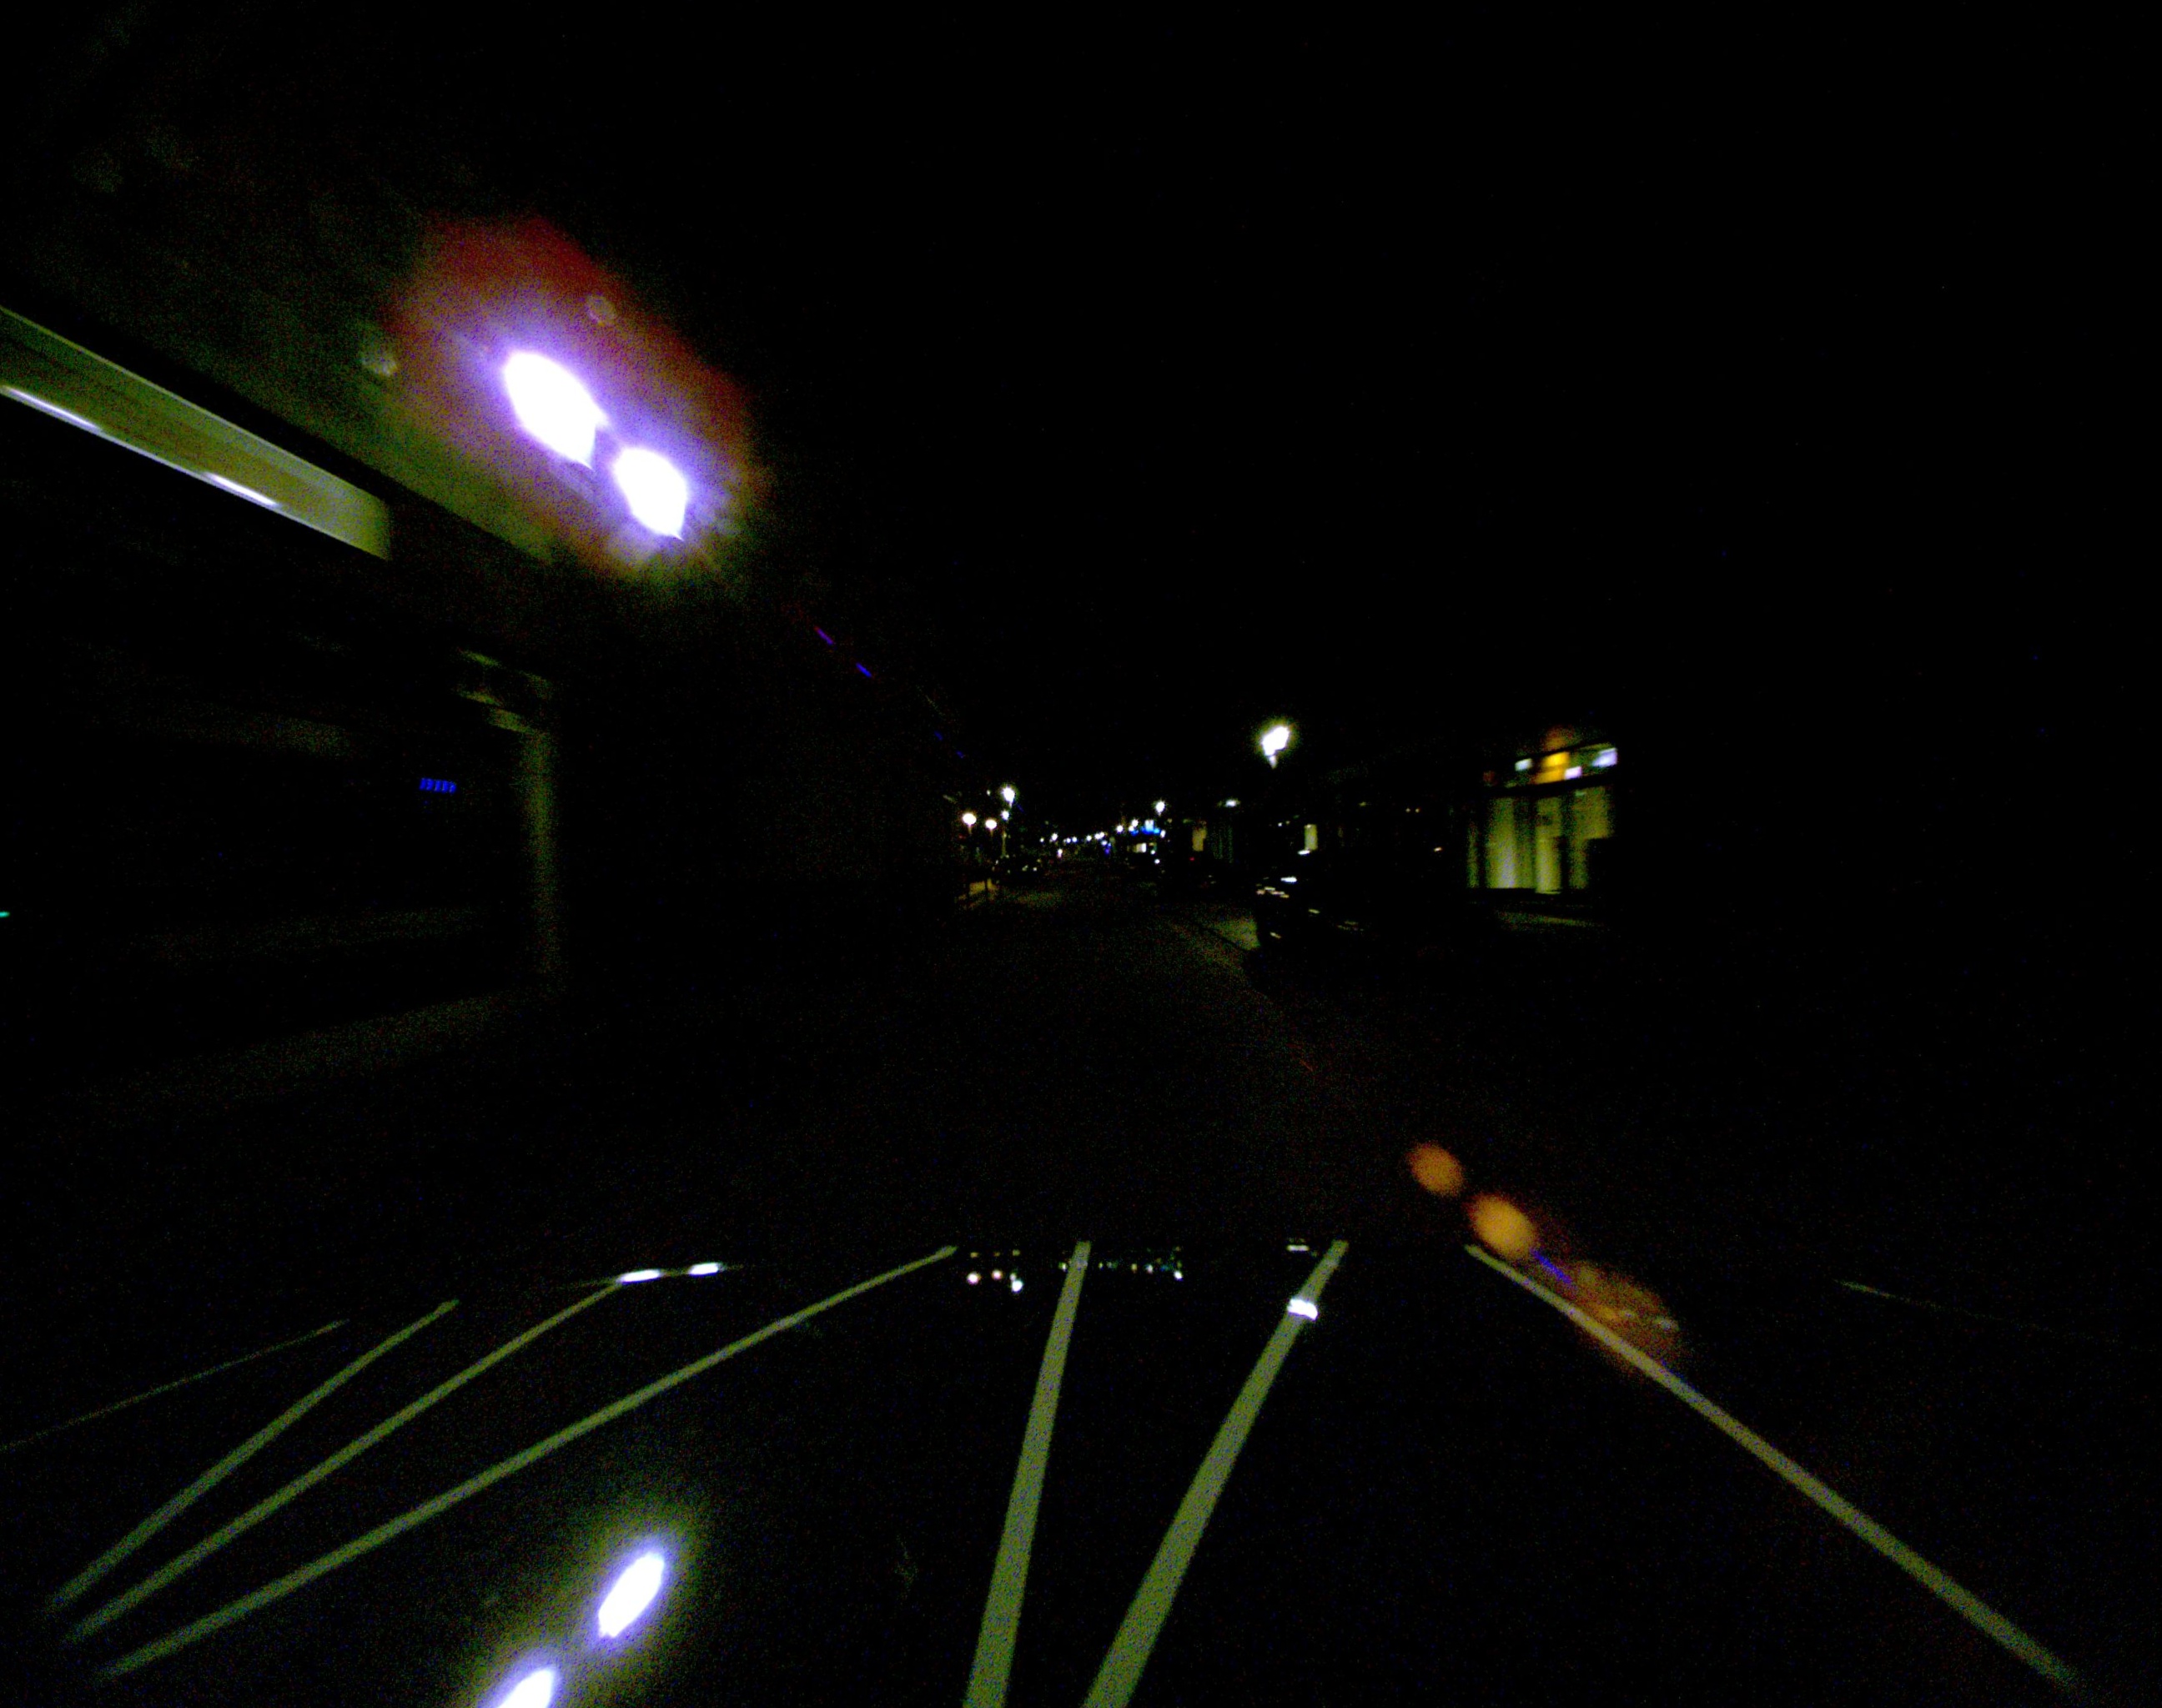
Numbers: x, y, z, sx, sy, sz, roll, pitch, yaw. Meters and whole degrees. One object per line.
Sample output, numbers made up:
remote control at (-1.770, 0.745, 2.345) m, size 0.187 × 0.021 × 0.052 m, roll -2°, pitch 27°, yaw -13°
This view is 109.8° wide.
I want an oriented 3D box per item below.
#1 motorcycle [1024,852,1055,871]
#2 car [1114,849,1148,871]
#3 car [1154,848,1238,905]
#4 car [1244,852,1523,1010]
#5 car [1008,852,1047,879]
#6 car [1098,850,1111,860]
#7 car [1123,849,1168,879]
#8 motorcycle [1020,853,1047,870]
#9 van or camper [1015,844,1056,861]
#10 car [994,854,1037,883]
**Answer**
motorcycle at (-3.096, 0.563, 56.977) m, size 2.266 × 1.383 × 0.662 m, roll -1°, pitch 1°, yaw 25°
car at (3.475, 0.384, 53.858) m, size 1.905 × 1.462 × 4.523 m, roll -2°, pitch 1°, yaw -2°
car at (3.458, 0.616, 23.681) m, size 1.802 × 1.469 × 4.320 m, roll -5°, pitch 1°, yaw -1°
car at (3.368, 0.734, 9.481) m, size 1.721 × 1.404 × 4.385 m, roll -3°, pitch 0°, yaw 1°
car at (-3.083, 0.650, 44.935) m, size 1.757 × 1.455 × 4.467 m, roll 0°, pitch 1°, yaw 3°
car at (3.446, 0.120, 112.534) m, size 1.655 × 1.417 × 4.013 m, roll -4°, pitch 0°, yaw -2°
car at (3.457, 0.488, 41.522) m, size 1.850 × 1.455 × 4.622 m, roll -3°, pitch 1°, yaw -2°
motorcycle at (-3.688, 0.569, 58.874) m, size 2.165 × 1.290 × 0.516 m, roll 0°, pitch 1°, yaw 31°
van or camper at (-7.206, -0.256, 120.090) m, size 6.061 × 2.519 × 2.157 m, roll -2°, pitch 1°, yaw -31°
car at (-3.373, 0.701, 39.664) m, size 1.665 × 1.369 × 4.104 m, roll 0°, pitch 1°, yaw 3°
